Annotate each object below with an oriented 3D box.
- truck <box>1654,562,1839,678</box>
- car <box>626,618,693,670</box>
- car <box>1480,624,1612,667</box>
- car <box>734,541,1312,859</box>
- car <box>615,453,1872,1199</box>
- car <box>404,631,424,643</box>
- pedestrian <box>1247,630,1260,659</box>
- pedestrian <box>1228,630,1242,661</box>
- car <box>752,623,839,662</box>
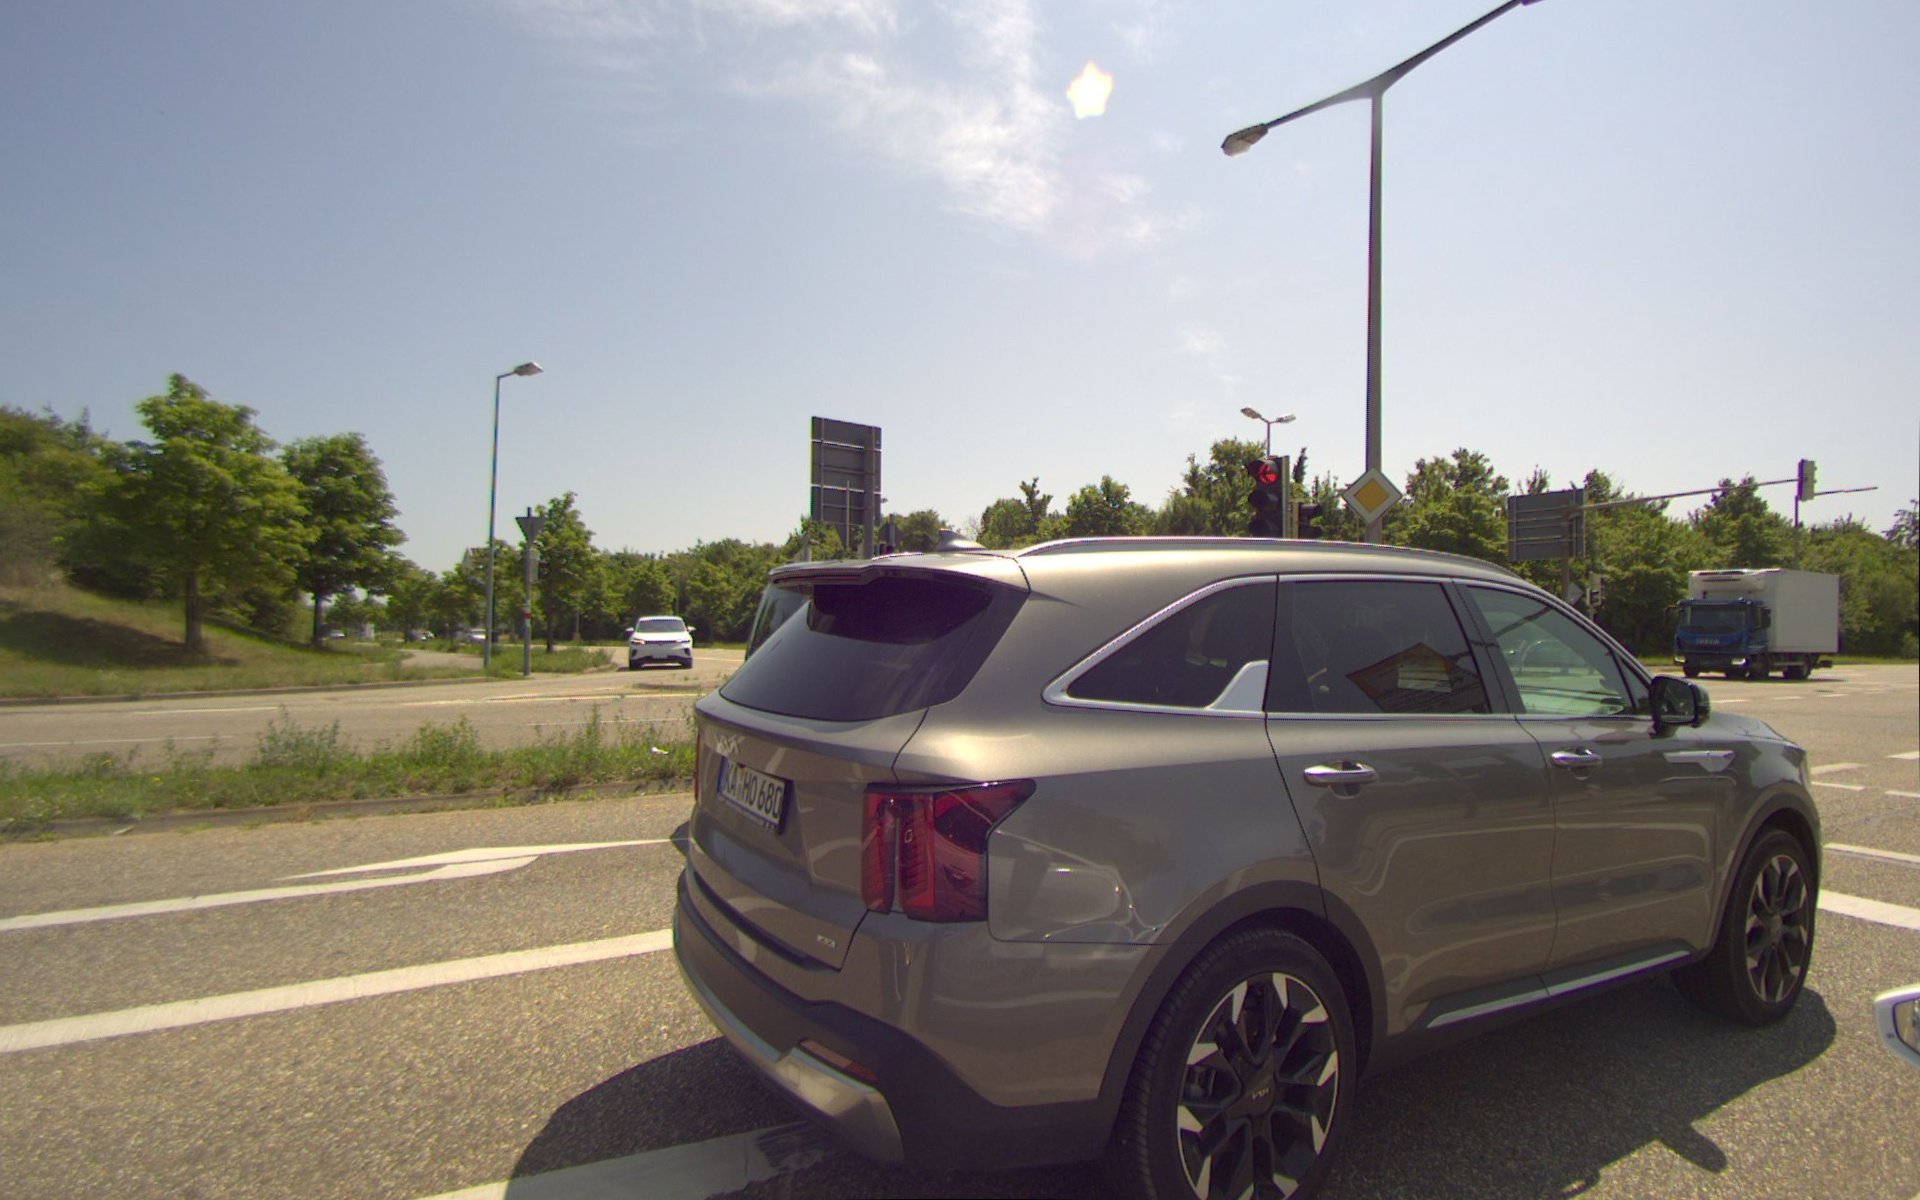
[{"bbox_3d":[26.936,0.722,34.315,7.185,3.618,2.673,2,-1,-32],"label":"truck"},{"bbox_3d":[-9.422,1.332,31.439,1.849,1.521,4.293,1,-1,-17],"label":"car"},{"bbox_3d":[25.408,1.948,43.778,4.834,1.754,1.827,0,-1,27],"label":"car"},{"bbox_3d":[0.616,0.644,7.754,4.275,1.850,1.721,2,-1,-33],"label":"car"},{"bbox_3d":[1.309,0.671,3.687,4.591,1.684,1.795,2,-2,-31],"label":"car"},{"bbox_3d":[-63.695,4.285,117.146,1.617,1.379,3.960,2,-1,-35],"label":"car"},{"bbox_3d":[15.606,2.371,53.405,0.606,1.523,0.798,0,-1,24],"label":"pedestrian"},{"bbox_3d":[14.733,2.426,53.847,0.606,1.624,0.798,0,-2,24],"label":"pedestrian"},{"bbox_3d":[-6.092,1.551,36.979,1.685,1.353,3.963,2,-2,-34],"label":"car"}]
